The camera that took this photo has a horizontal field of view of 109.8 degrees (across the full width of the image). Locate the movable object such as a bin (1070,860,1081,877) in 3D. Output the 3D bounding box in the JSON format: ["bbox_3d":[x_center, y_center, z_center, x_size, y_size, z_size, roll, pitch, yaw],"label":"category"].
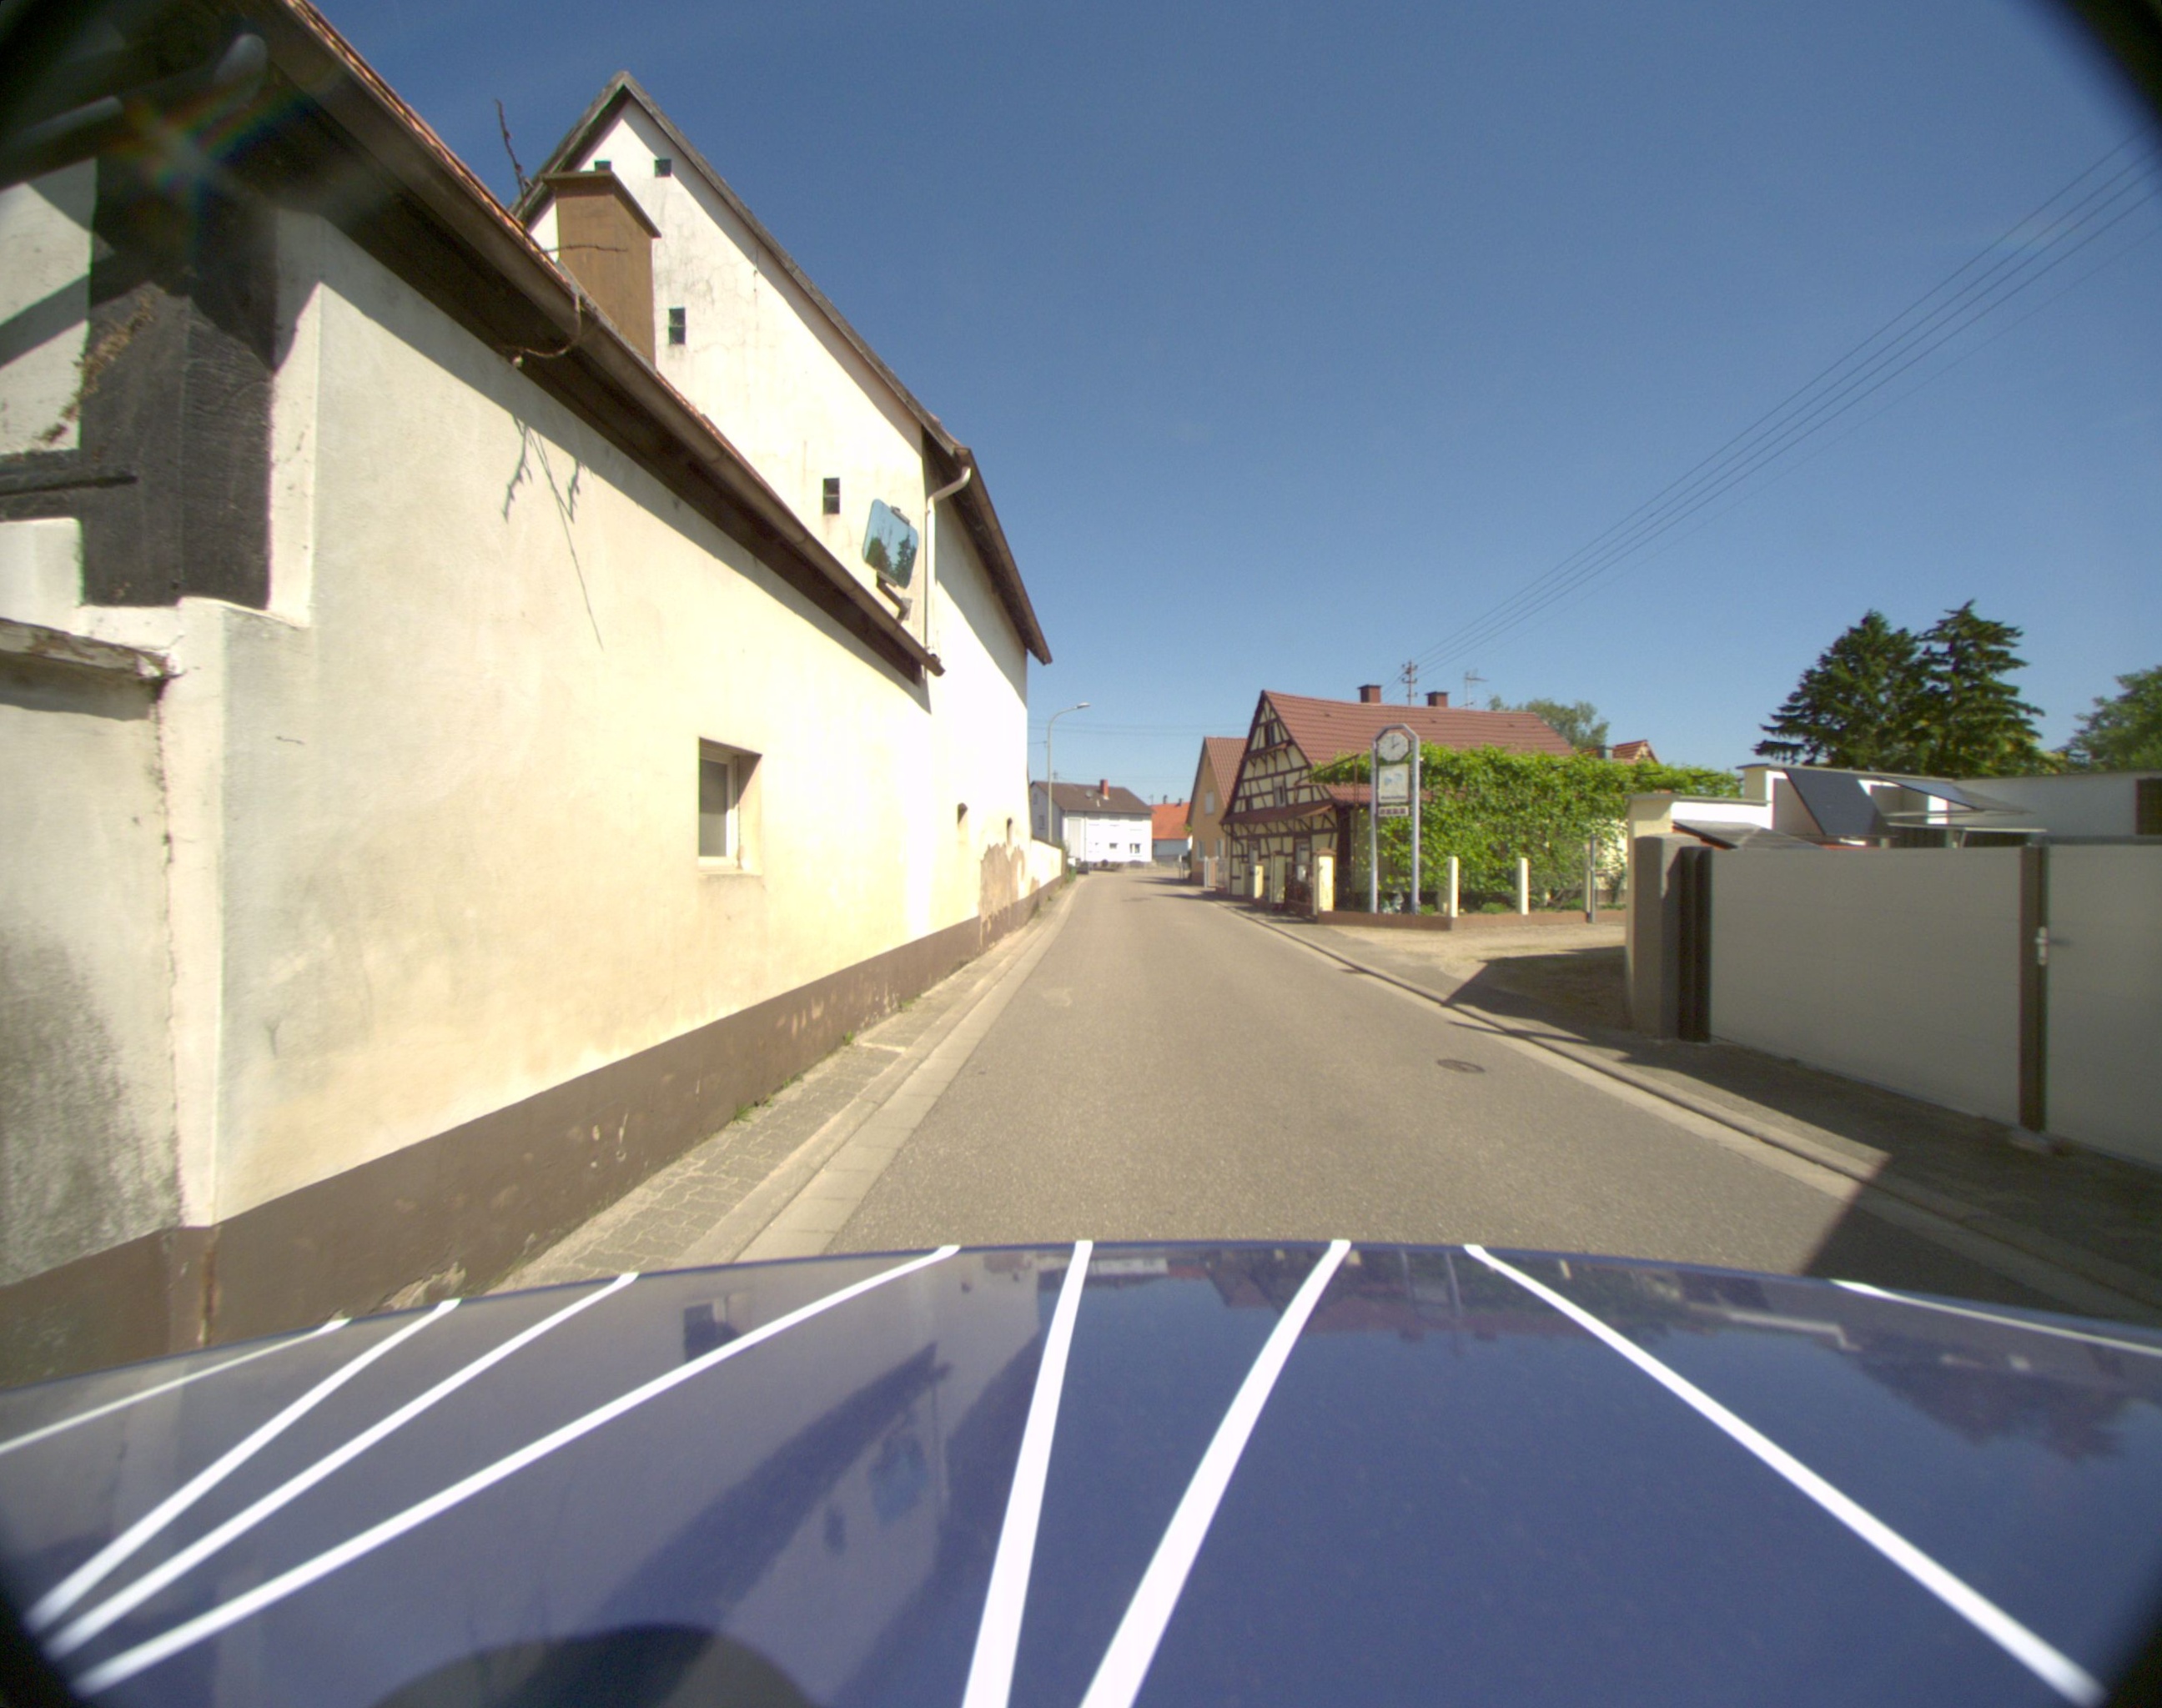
[{"bbox_3d":[-0.340,0.873,45.443,0.552,0.971,0.432,0,1,-23],"label":"movable object such as a bin"}]

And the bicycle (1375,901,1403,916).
[{"bbox_3d":[6.690,1.178,16.503,0.534,0.303,0.220,-2,1,18],"label":"bicycle"}]

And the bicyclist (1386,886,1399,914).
[{"bbox_3d":[6.756,0.998,16.480,0.246,0.579,0.218,0,2,18],"label":"bicyclist"}]
